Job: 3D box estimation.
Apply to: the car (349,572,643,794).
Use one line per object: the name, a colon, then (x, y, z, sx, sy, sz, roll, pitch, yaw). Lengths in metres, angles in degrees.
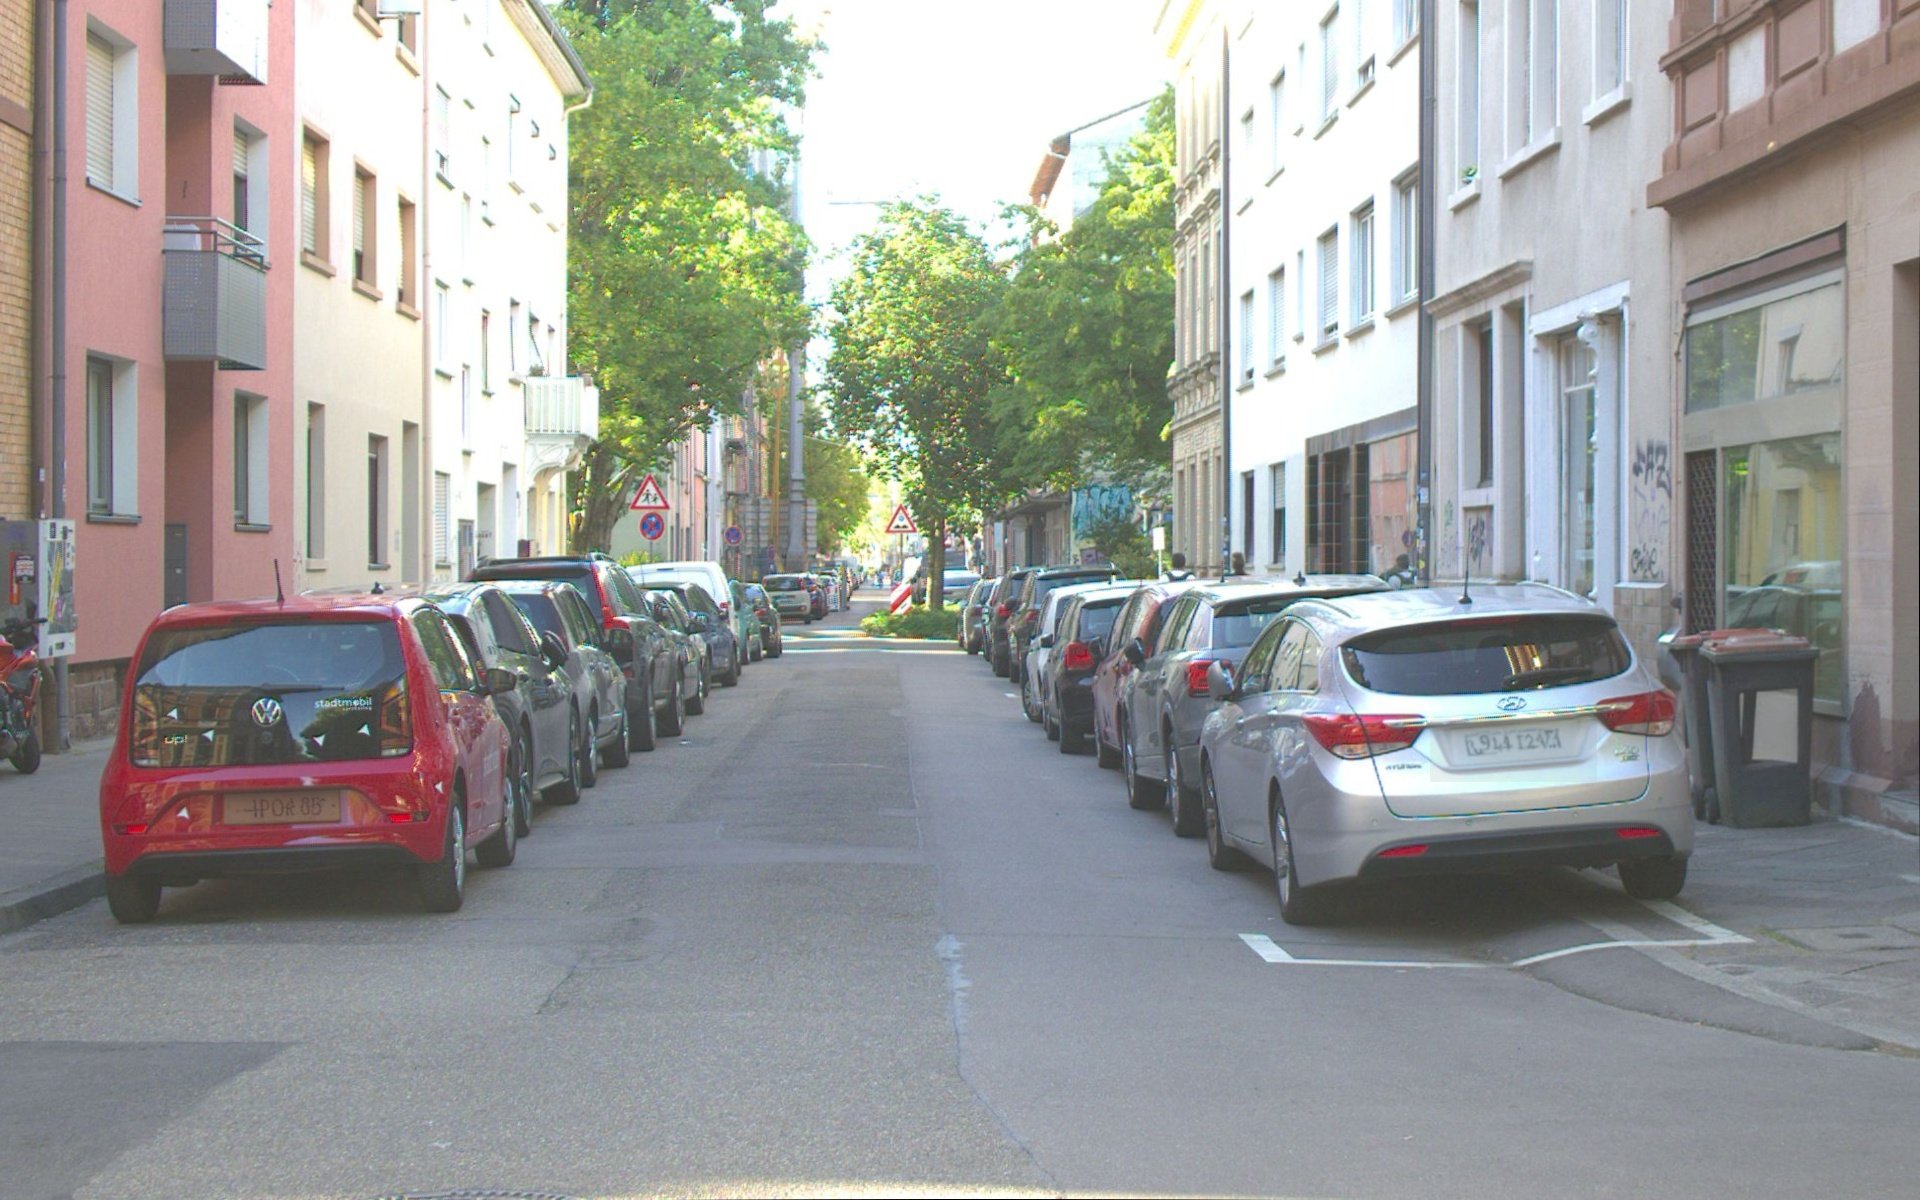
car: (-3.512, 0.578, 26.643, 1.656, 1.516, 3.944, -2, 1, 1)

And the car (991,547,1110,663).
car: (1.369, 0.072, 53.245, 1.676, 1.676, 4.094, -2, 0, 0)

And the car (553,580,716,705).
car: (-3.963, 0.483, 42.376, 1.673, 1.383, 4.182, -2, 1, -1)

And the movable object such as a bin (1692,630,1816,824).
movable object such as a bin: (4.424, 0.700, 19.174, 0.514, 1.036, 0.619, -2, 1, 0)

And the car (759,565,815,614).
car: (-5.565, -0.345, 110.891, 1.675, 1.482, 4.095, -2, 1, -2)

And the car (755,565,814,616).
car: (-5.355, -0.310, 105.451, 1.675, 1.482, 4.095, -2, 1, -2)

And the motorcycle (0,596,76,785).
motorcycle: (-6.463, 0.586, 23.184, 0.533, 1.201, 1.909, 0, 1, -1)

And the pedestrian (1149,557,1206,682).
pedestrian: (2.921, 0.251, 46.155, 0.685, 1.654, 0.717, -1, 1, -1)

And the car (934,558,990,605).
car: (0.055, -0.616, 113.319, 1.675, 1.482, 3.638, -2, 1, -2)

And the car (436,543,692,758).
car: (-3.601, 0.400, 32.026, 1.743, 1.805, 4.672, -2, 1, 1)

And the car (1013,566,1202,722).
car: (1.523, 0.424, 36.714, 1.675, 1.501, 3.938, -2, 1, -2)

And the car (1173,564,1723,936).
car: (2.202, 0.609, 16.697, 1.743, 1.501, 4.358, -2, 1, -4)

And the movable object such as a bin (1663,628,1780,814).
movable object such as a bin: (4.410, 0.693, 19.928, 0.514, 1.036, 0.594, -2, 1, 0)

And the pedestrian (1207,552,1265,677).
pedestrian: (3.694, 0.192, 46.067, 0.685, 1.654, 0.717, -1, 1, -1)

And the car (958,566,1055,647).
car: (0.887, 0.114, 67.908, 1.675, 1.482, 4.095, -2, 1, -2)

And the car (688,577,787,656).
car: (-4.161, 0.287, 64.732, 1.670, 1.356, 4.049, -2, 1, -1)

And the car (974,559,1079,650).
car: (1.189, 0.050, 63.005, 1.675, 1.556, 3.796, -2, 1, -2)

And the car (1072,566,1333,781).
car: (1.841, 0.516, 27.208, 1.598, 1.501, 4.185, -2, 1, -2)

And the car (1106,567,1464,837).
car: (1.980, 0.573, 22.011, 1.744, 1.501, 4.021, -2, 1, -2)

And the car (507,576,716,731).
car: (-3.716, 0.530, 37.349, 1.743, 1.501, 4.346, -2, 1, 1)

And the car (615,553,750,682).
car: (-4.100, 0.224, 51.298, 1.765, 1.779, 4.039, -2, 1, -2)

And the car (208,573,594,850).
car: (-3.434, 0.626, 21.821, 1.695, 1.516, 4.096, -2, 1, 1)

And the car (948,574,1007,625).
car: (0.526, -0.036, 107.060, 1.675, 1.482, 3.638, -2, 1, -2)

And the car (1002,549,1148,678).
car: (1.578, 0.160, 48.381, 1.676, 1.621, 4.251, -4, 1, -2)

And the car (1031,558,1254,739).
car: (1.616, 0.397, 31.632, 1.675, 1.501, 3.938, -2, 1, -2)

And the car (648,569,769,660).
car: (-4.374, 0.232, 60.175, 1.670, 1.464, 3.820, -2, 1, 2)

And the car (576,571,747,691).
car: (-4.009, 0.390, 46.769, 1.673, 1.481, 3.991, -2, 1, 4)

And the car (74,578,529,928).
car: (-3.157, 0.669, 17.106, 1.628, 1.476, 3.601, -2, 1, -2)
